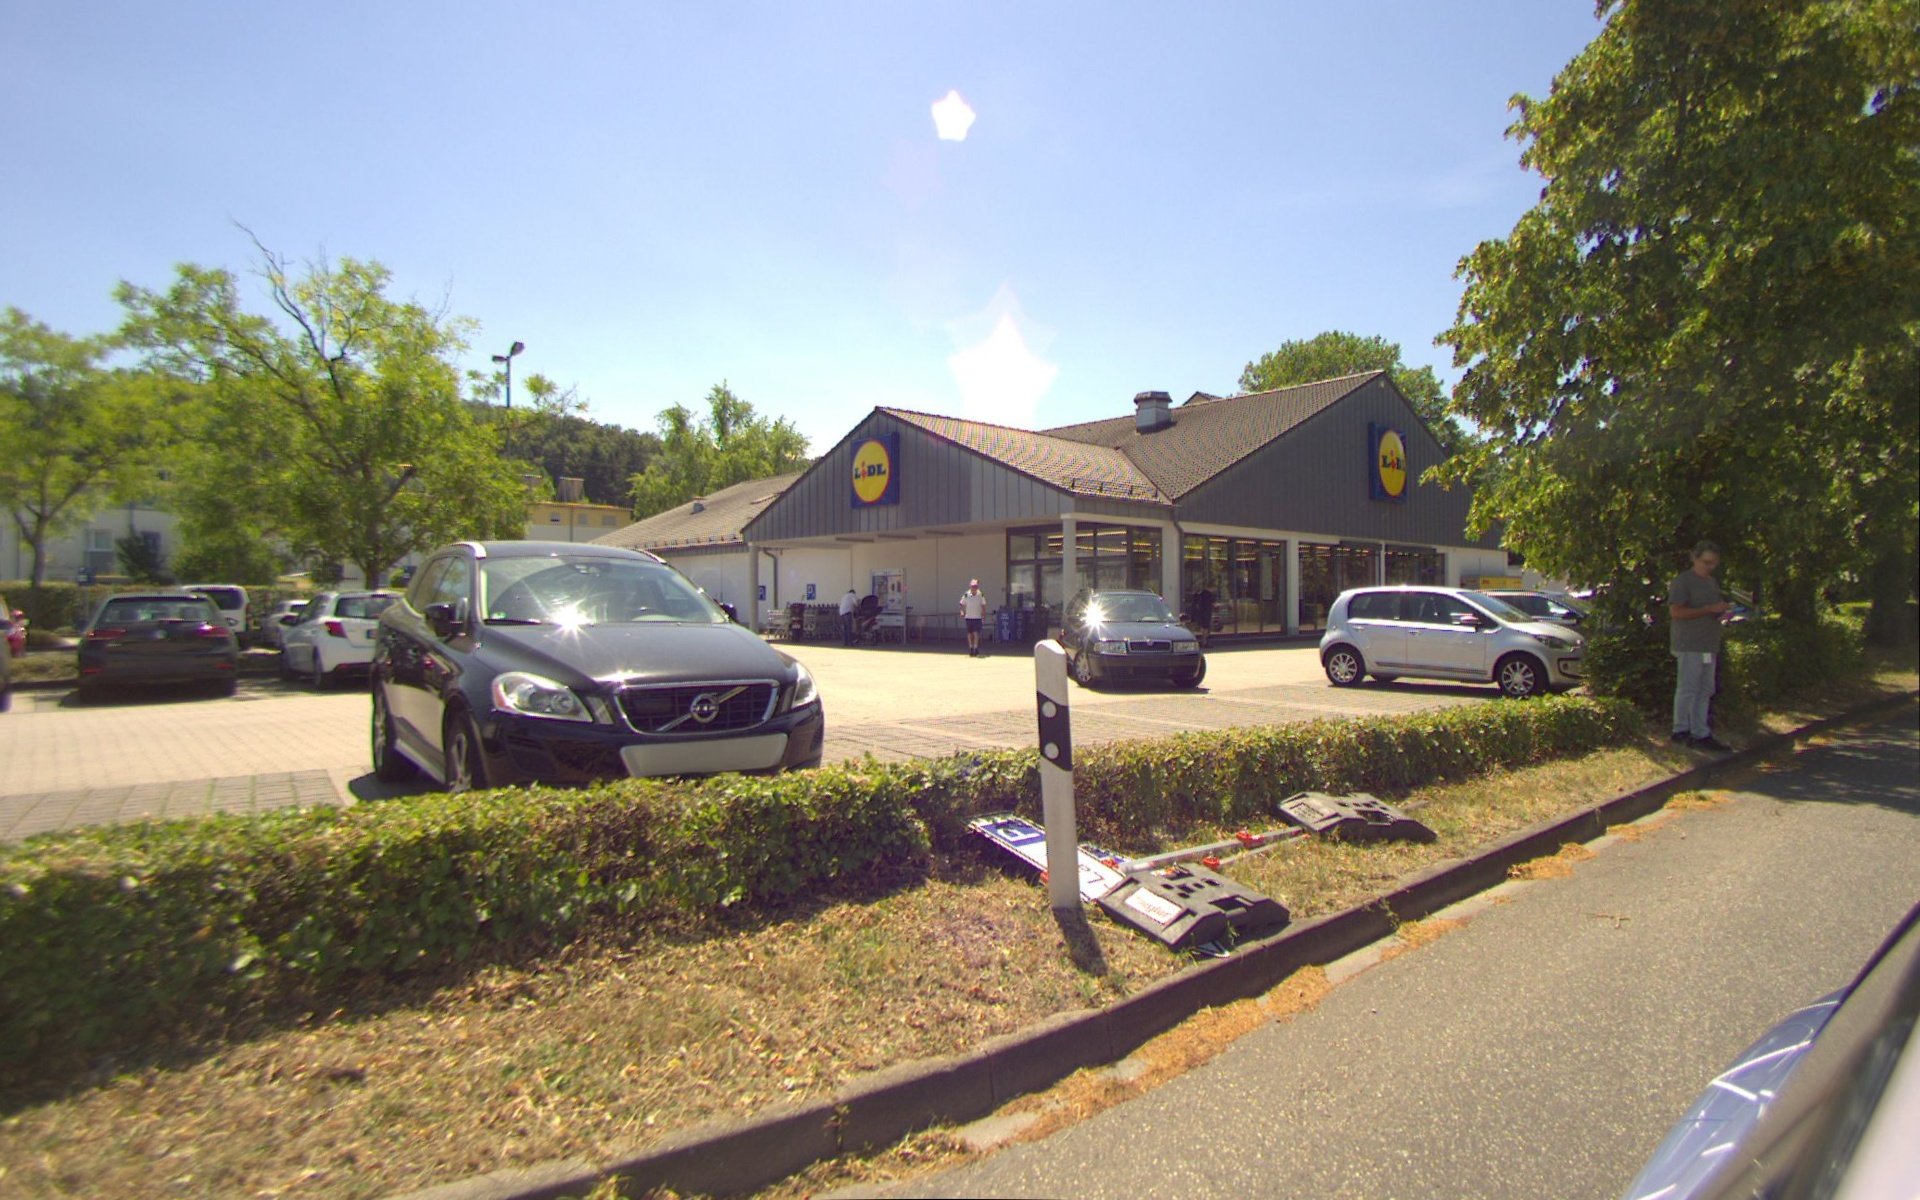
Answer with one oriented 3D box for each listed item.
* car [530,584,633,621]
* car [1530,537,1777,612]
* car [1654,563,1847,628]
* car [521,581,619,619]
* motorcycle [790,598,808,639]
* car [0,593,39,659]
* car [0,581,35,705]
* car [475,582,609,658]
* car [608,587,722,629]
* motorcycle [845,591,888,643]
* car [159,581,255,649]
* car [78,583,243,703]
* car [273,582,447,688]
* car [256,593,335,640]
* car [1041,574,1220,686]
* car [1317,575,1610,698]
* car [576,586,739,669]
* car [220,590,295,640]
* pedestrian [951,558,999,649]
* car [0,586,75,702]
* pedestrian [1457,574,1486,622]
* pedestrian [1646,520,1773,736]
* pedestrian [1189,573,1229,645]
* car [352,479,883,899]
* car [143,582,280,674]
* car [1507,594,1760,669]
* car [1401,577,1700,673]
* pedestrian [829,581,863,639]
[{"bbox_3d":[-17.162,0.102,46.018,1.994,1.593,3.937,2,1,44],"label":"car"},{"bbox_3d":[17.415,-0.595,25.620,1.966,1.697,4.854,0,0,-42],"label":"car"},{"bbox_3d":[21.913,-0.146,28.153,1.966,1.660,3.992,0,1,-42],"label":"car"},{"bbox_3d":[-18.679,-0.015,48.553,1.994,1.705,3.937,2,1,44],"label":"car"},{"bbox_3d":[-4.916,0.555,30.919,0.391,1.185,1.492,0,1,-15],"label":"motorcycle"},{"bbox_3d":[-24.961,0.640,25.954,1.718,1.579,3.761,0,1,-38],"label":"car"},{"bbox_3d":[-12.938,0.467,12.632,1.868,1.408,4.251,0,1,-40],"label":"car"},{"bbox_3d":[-9.478,0.387,22.828,1.716,1.523,3.602,0,1,-42],"label":"car"},{"bbox_3d":[-11.777,0.299,40.506,1.994,1.571,3.937,2,1,44],"label":"car"},{"bbox_3d":[-2.615,0.451,28.163,0.382,1.388,1.475,0,1,-42],"label":"motorcycle"},{"bbox_3d":[-21.855,0.367,29.331,1.747,1.813,3.990,0,1,-44],"label":"car"},{"bbox_3d":[-11.739,0.535,14.798,1.698,1.496,4.025,0,0,-41],"label":"car"},{"bbox_3d":[-9.888,0.501,16.569,1.787,1.523,3.728,0,0,-42],"label":"car"},{"bbox_3d":[-20.188,0.459,30.714,1.405,1.338,3.418,0,1,-44],"label":"car"},{"bbox_3d":[2.521,0.408,16.035,1.711,1.523,4.305,0,0,-6],"label":"car"},{"bbox_3d":[7.047,0.432,14.371,1.555,1.525,3.401,1,0,-43],"label":"car"},{"bbox_3d":[-5.861,0.478,19.417,1.643,1.435,3.602,0,0,-42],"label":"car"},{"bbox_3d":[-23.383,0.455,33.635,1.715,1.523,3.604,0,1,-40],"label":"car"},{"bbox_3d":[0.336,0.069,23.234,0.790,2.039,0.783,0,0,-43],"label":"pedestrian"},{"bbox_3d":[-16.352,0.630,16.932,1.968,1.662,5.516,0,1,-45],"label":"car"},{"bbox_3d":[18.829,-0.083,37.259,0.686,1.763,0.762,0,0,-39],"label":"pedestrian"},{"bbox_3d":[6.617,0.230,8.950,0.608,1.811,0.732,0,0,-33],"label":"pedestrian"},{"bbox_3d":[6.225,0.207,25.275,0.697,1.775,0.773,0,1,43],"label":"pedestrian"},{"bbox_3d":[-2.502,0.335,6.441,1.859,1.688,4.526,0,0,-37],"label":"car"},{"bbox_3d":[-13.824,0.453,18.627,1.716,1.523,3.602,0,0,-42],"label":"car"},{"bbox_3d":[14.319,0.602,21.684,1.921,1.429,4.233,0,0,-44],"label":"car"},{"bbox_3d":[10.393,0.352,18.044,1.780,1.499,4.313,0,1,-44],"label":"car"},{"bbox_3d":[-3.136,0.250,27.867,0.549,1.571,0.802,0,1,-43],"label":"pedestrian"}]
